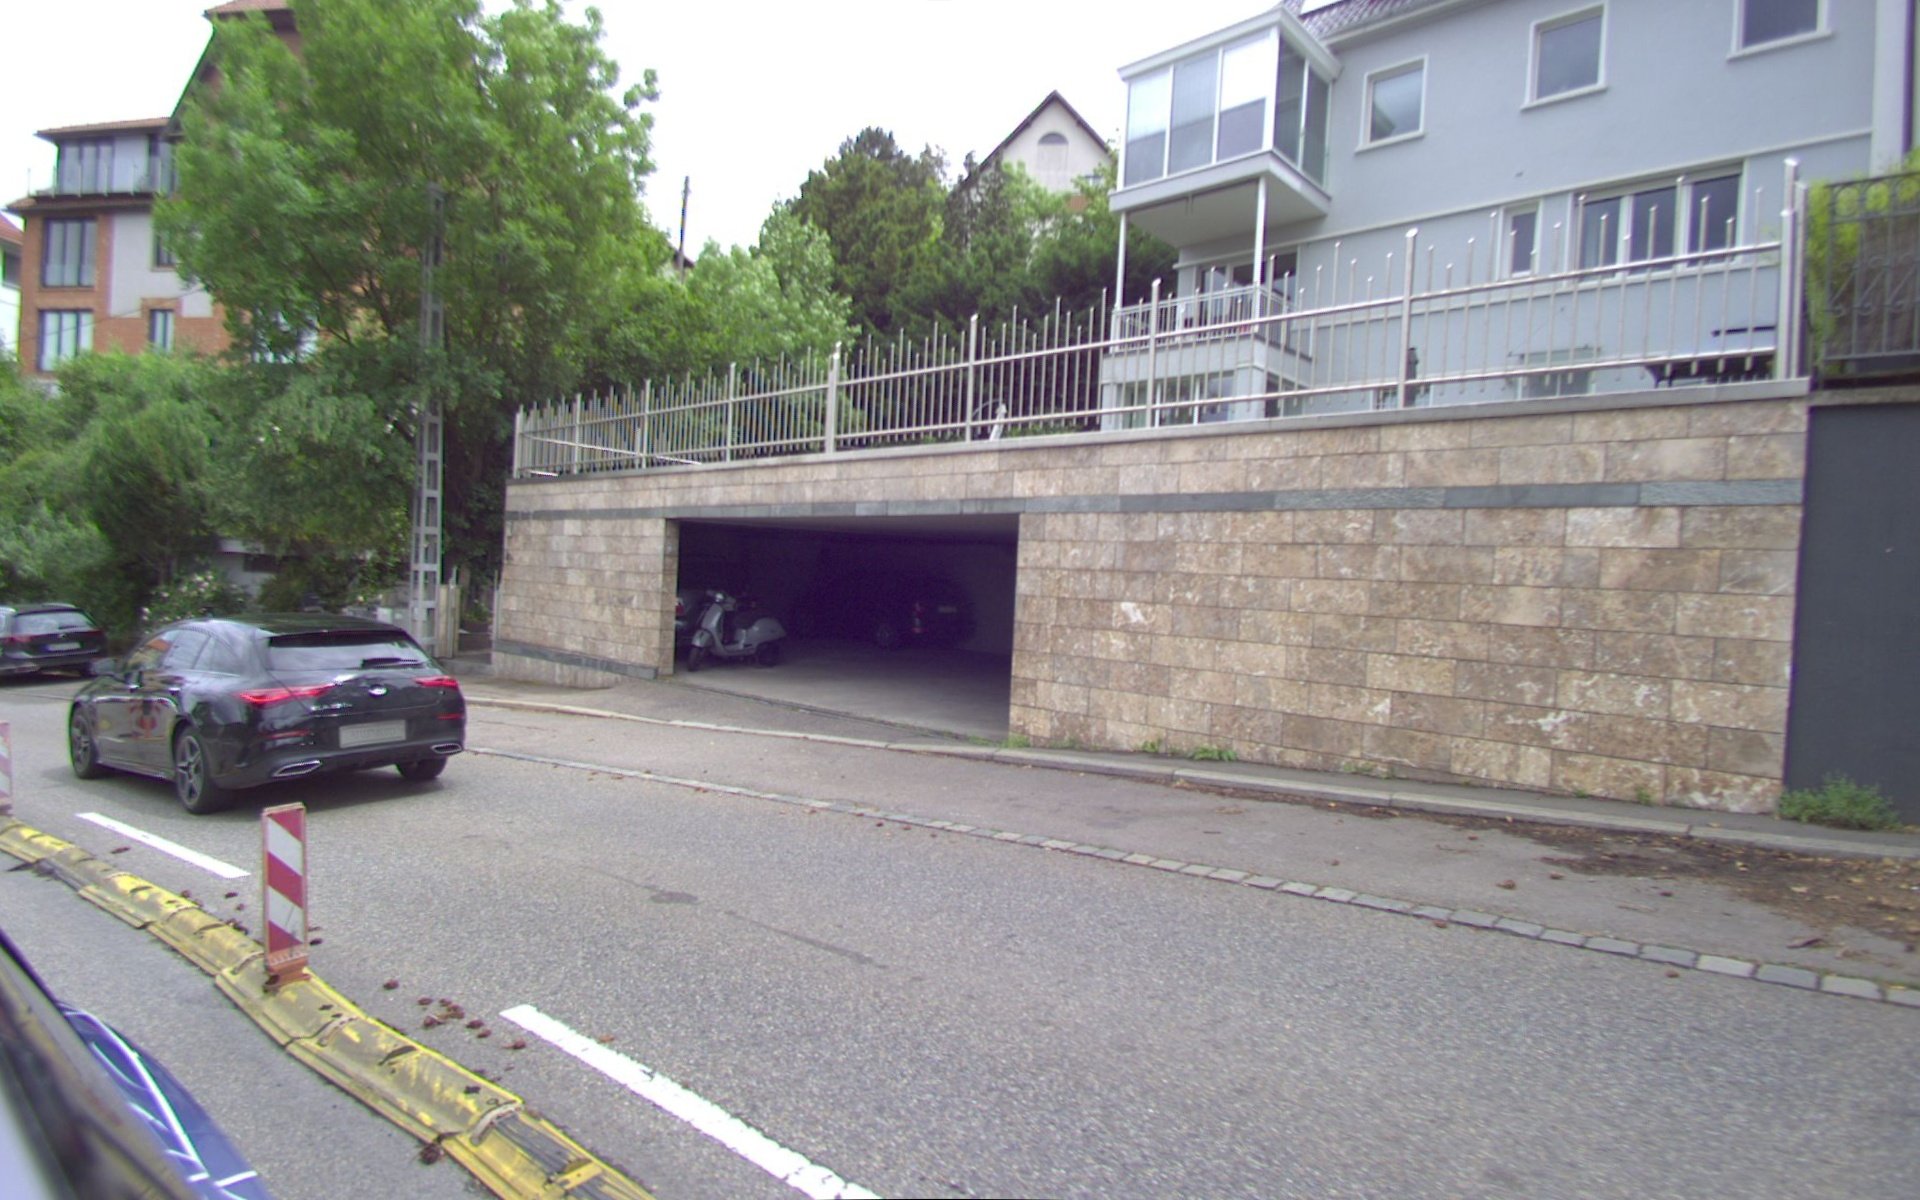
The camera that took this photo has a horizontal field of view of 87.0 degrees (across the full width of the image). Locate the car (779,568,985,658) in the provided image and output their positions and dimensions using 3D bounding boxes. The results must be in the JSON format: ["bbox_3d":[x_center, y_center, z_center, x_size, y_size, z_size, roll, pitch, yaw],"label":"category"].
[{"bbox_3d":[-1.614,0.208,20.129,3.999,1.462,1.723,5,2,41],"label":"car"}]

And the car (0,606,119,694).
[{"bbox_3d":[-18.263,0.918,19.519,3.697,1.445,1.808,-1,3,28],"label":"car"}]

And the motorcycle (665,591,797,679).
[{"bbox_3d":[-3.377,0.476,15.015,1.817,1.192,0.638,-1,4,-43],"label":"motorcycle"}]

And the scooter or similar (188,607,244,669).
[{"bbox_3d":[-15.728,0.796,21.396,0.955,1.266,0.404,-1,3,17],"label":"scooter or similar"}]

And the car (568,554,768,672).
[{"bbox_3d":[-4.863,0.128,16.629,3.589,1.616,1.551,5,4,44],"label":"car"}]

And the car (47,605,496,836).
[{"bbox_3d":[-5.917,0.802,8.530,4.211,1.465,1.846,-1,0,36],"label":"car"}]
